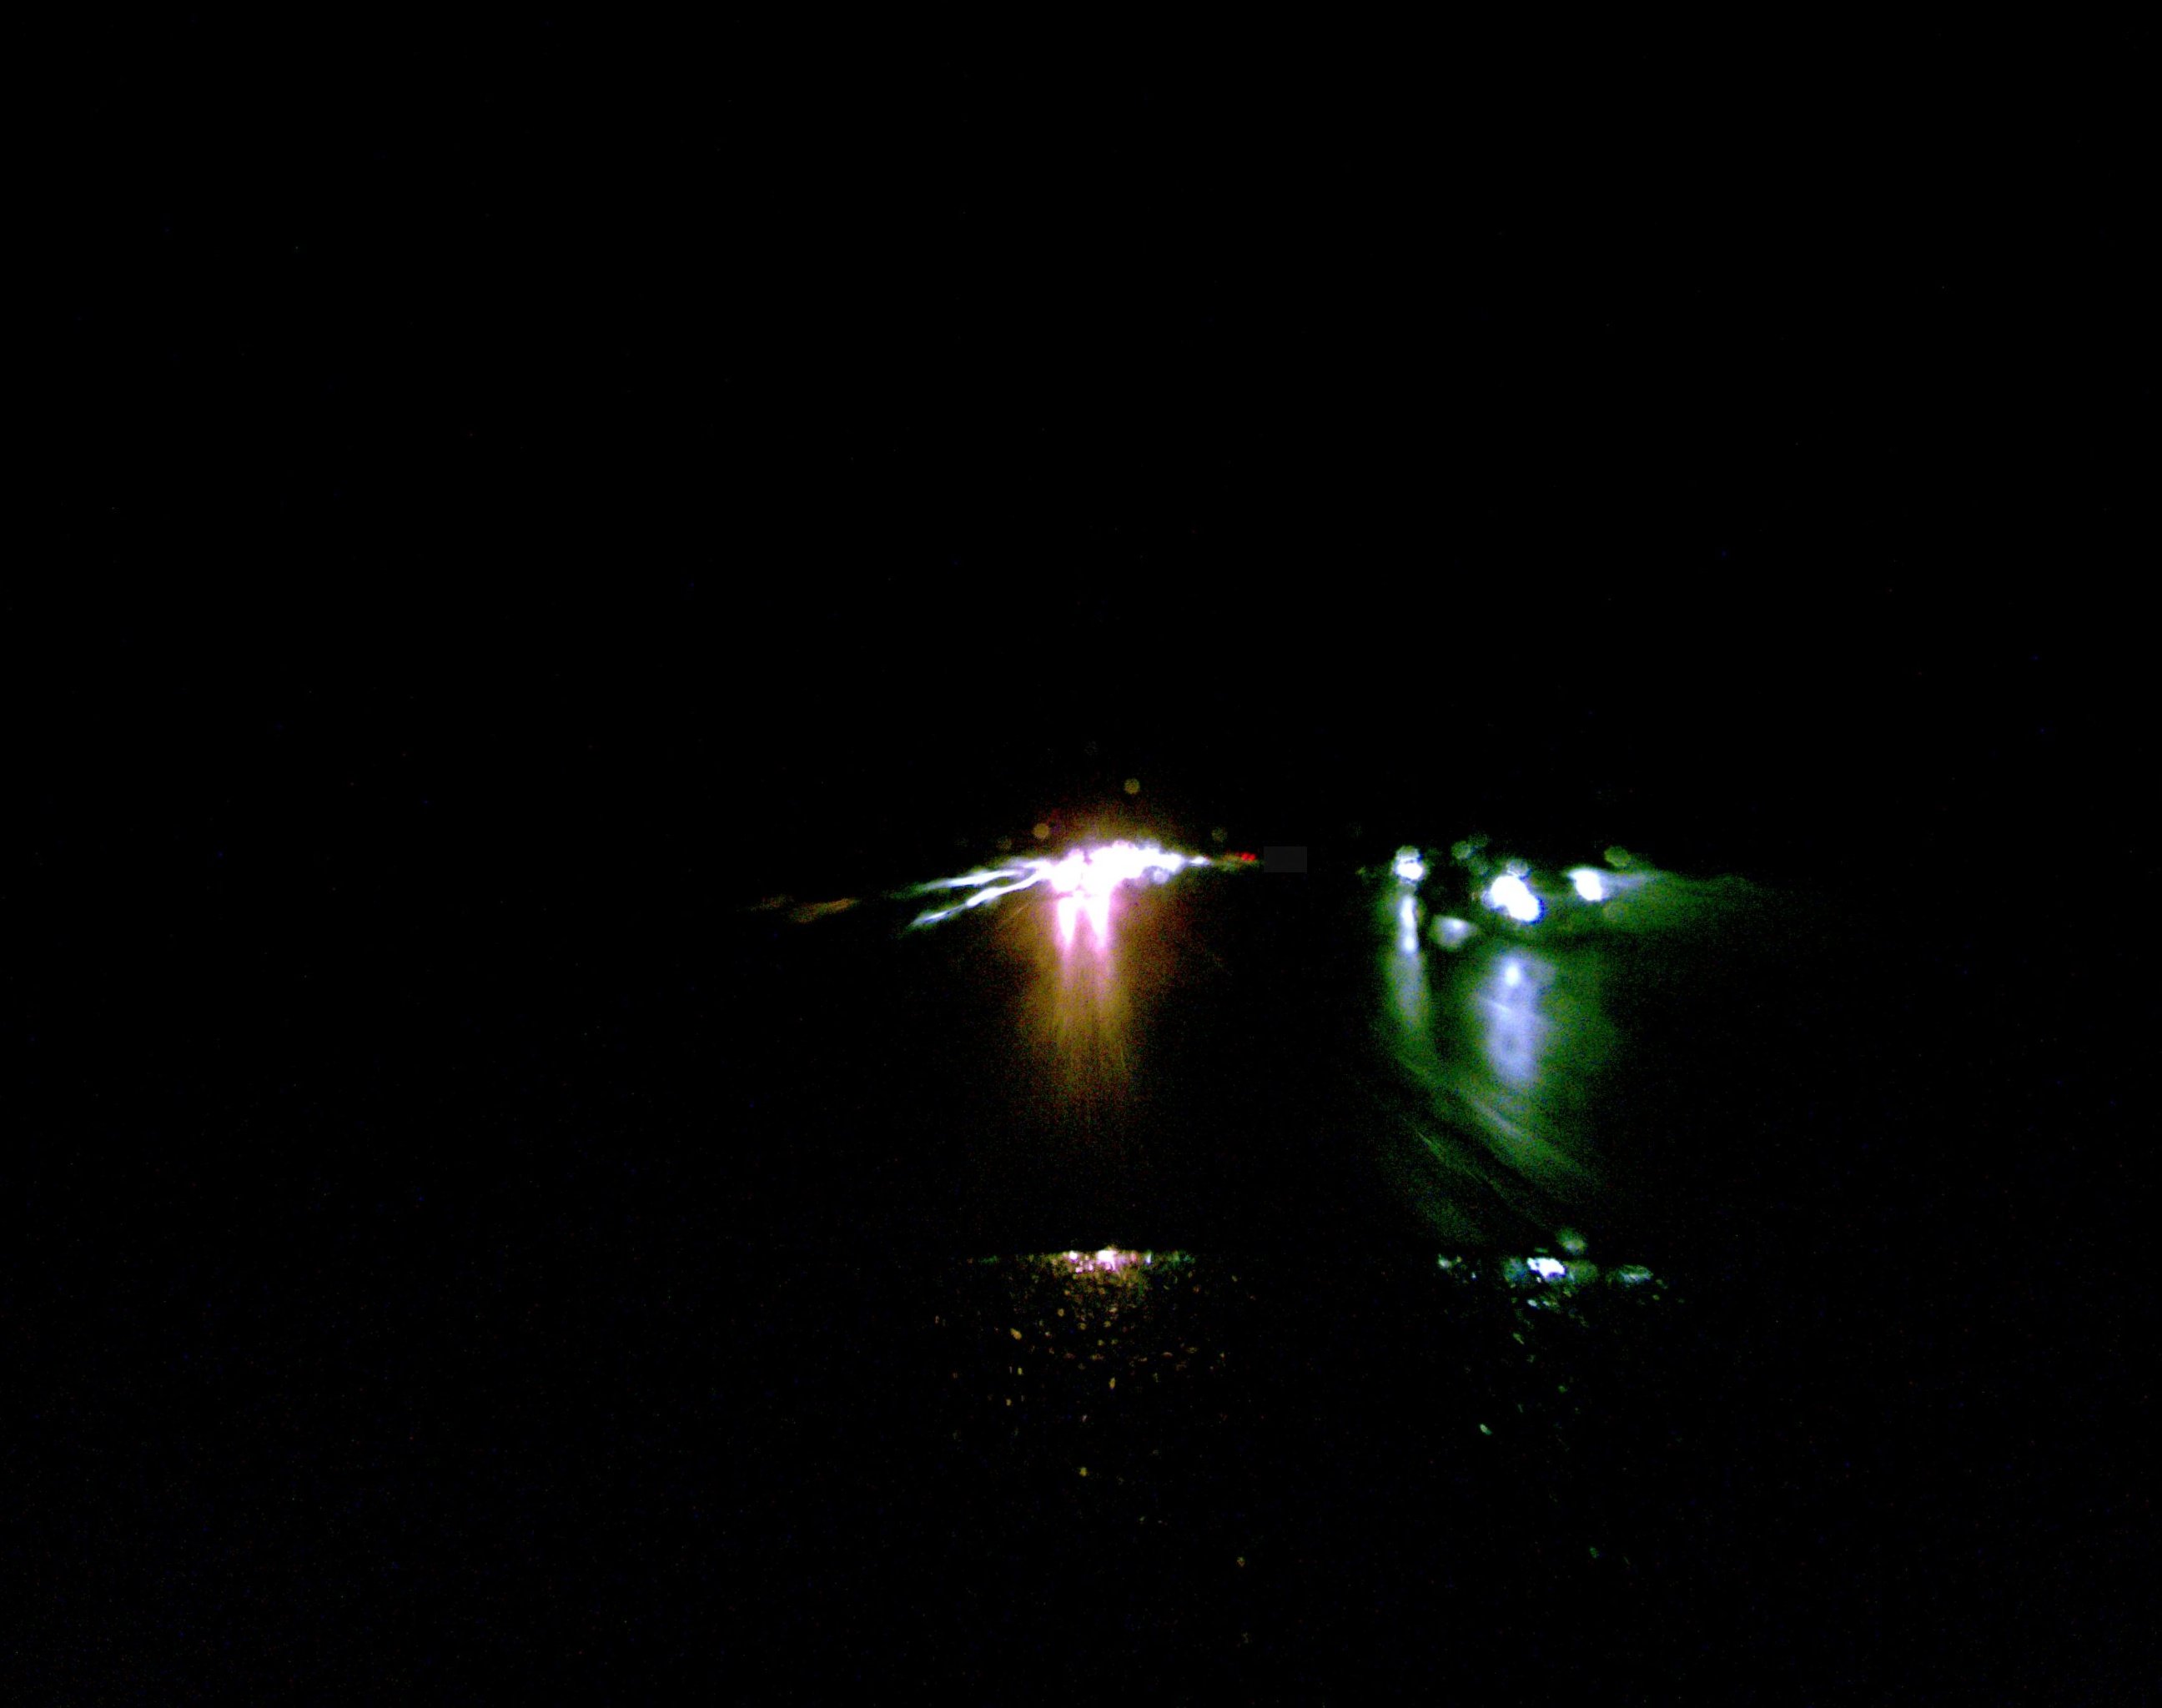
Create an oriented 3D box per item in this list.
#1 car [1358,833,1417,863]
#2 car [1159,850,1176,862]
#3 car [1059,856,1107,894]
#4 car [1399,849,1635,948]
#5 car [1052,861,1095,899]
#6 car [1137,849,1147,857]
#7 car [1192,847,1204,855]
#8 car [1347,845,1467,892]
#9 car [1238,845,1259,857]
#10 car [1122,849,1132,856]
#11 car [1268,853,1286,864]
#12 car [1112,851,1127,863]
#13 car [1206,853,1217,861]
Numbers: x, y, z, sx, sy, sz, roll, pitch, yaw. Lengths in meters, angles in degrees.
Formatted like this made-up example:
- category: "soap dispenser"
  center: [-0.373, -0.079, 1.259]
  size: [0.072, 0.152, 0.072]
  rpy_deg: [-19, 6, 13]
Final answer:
- category: "car"
  center: [20.521, -0.423, 51.101]
  size: [1.885, 1.832, 5.059]
  rpy_deg: [-2, 1, -1]
- category: "car"
  center: [12.707, 0.293, 112.041]
  size: [1.998, 1.551, 4.587]
  rpy_deg: [-2, 1, 1]
- category: "car"
  center: [0.128, 0.939, 34.274]
  size: [1.998, 1.542, 4.001]
  rpy_deg: [-2, -1, 1]
- category: "car"
  center: [7.598, 0.681, 13.788]
  size: [1.998, 1.433, 4.000]
  rpy_deg: [-2, 1, 1]
- category: "car"
  center: [-0.245, 0.953, 29.136]
  size: [1.525, 1.256, 3.369]
  rpy_deg: [-2, 1, 1]
- category: "car"
  center: [14.767, -0.291, 184.209]
  size: [1.998, 1.797, 4.000]
  rpy_deg: [-2, 1, 2]
- category: "car"
  center: [26.449, -0.756, 172.025]
  size: [1.885, 1.712, 4.562]
  rpy_deg: [-2, 1, -1]
- category: "car"
  center: [11.793, 0.452, 27.942]
  size: [1.999, 1.468, 5.163]
  rpy_deg: [-2, 1, -2]
- category: "car"
  center: [24.919, -0.431, 113.172]
  size: [1.885, 1.712, 4.562]
  rpy_deg: [-2, 1, -2]
- category: "car"
  center: [10.026, -0.353, 166.579]
  size: [1.998, 1.551, 4.587]
  rpy_deg: [-2, 1, 1]
- category: "car"
  center: [33.690, 0.733, 130.616]
  size: [1.885, 1.712, 4.562]
  rpy_deg: [-2, 1, -1]
- category: "car"
  center: [5.315, 0.402, 105.421]
  size: [1.998, 1.551, 4.587]
  rpy_deg: [-2, 1, 1]
- category: "car"
  center: [30.222, 0.589, 175.918]
  size: [1.884, 1.712, 4.563]
  rpy_deg: [-2, 1, 1]
